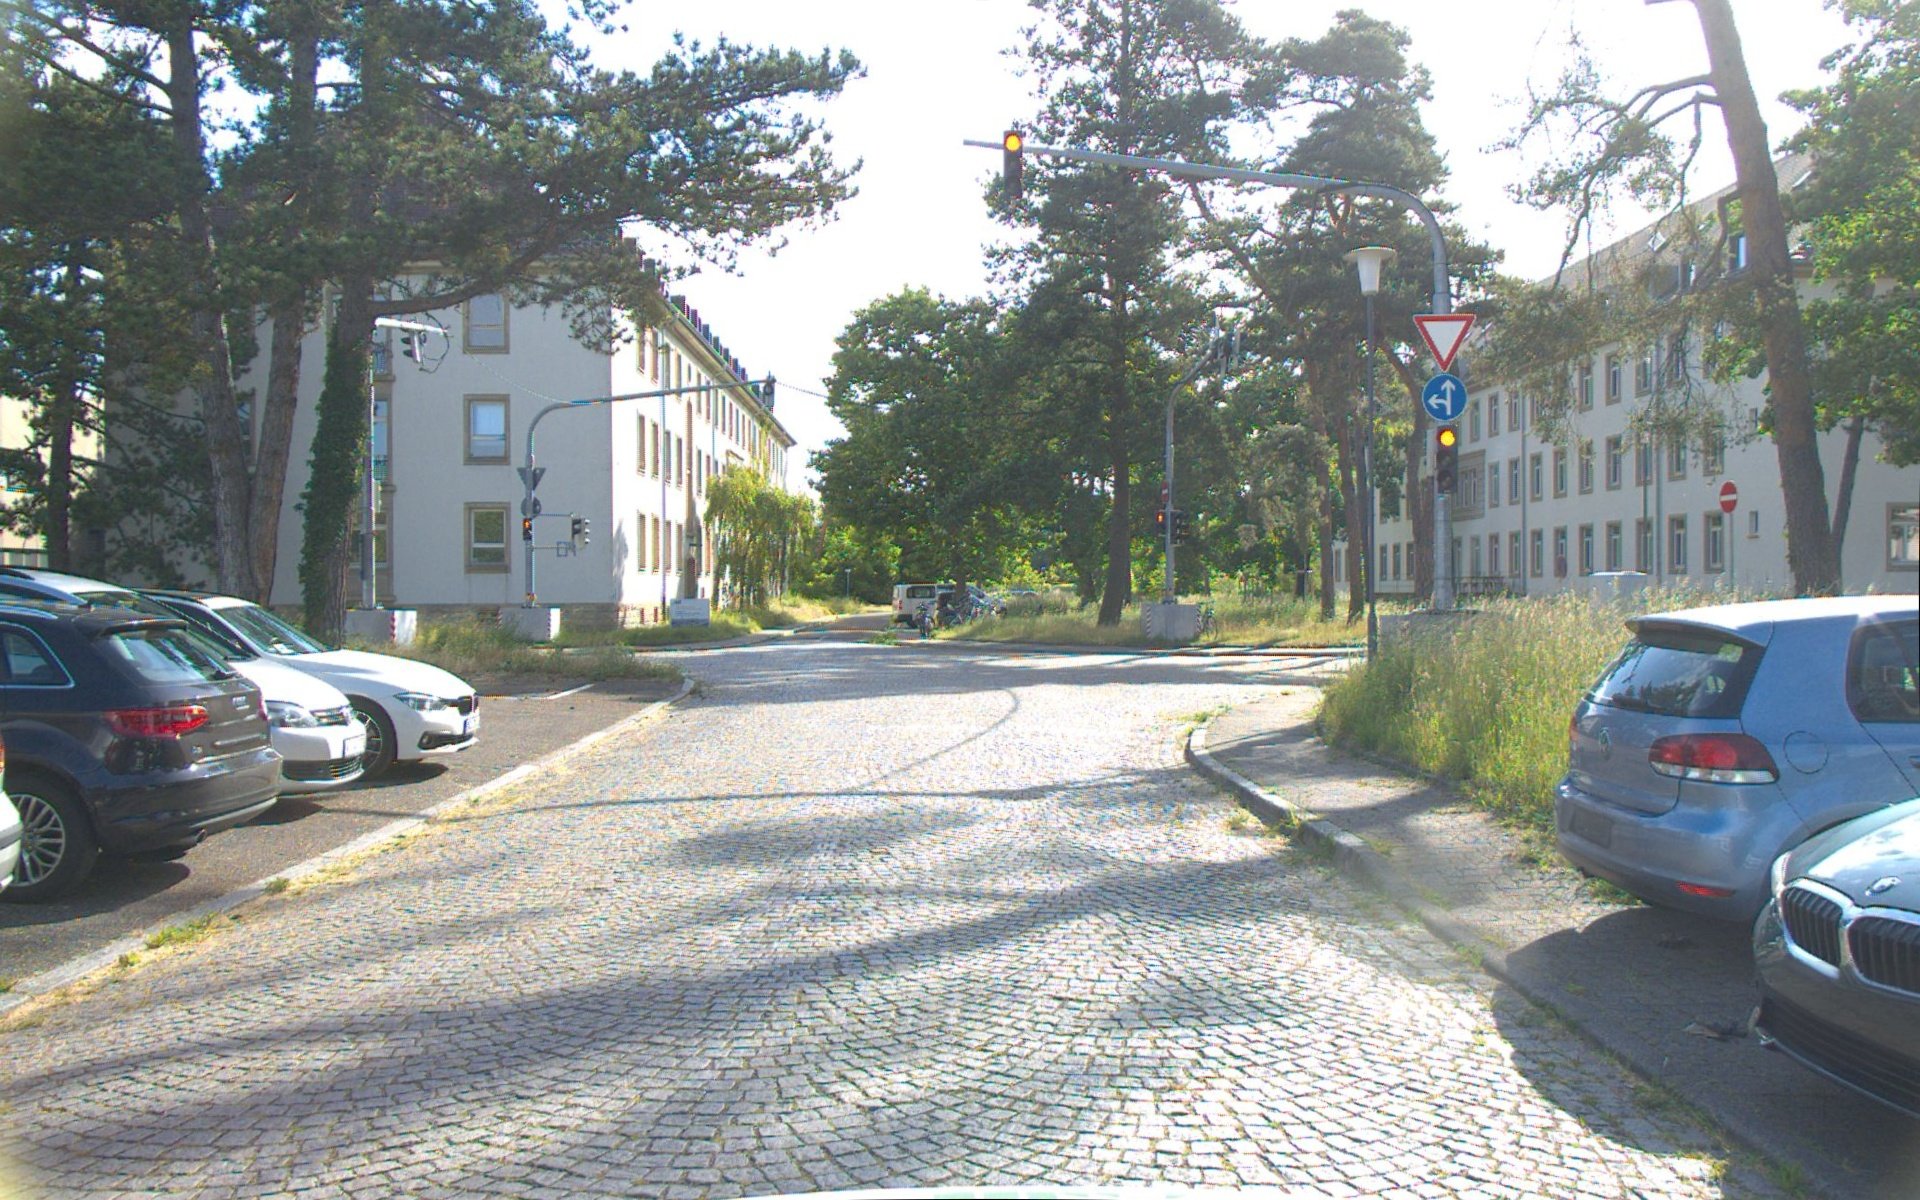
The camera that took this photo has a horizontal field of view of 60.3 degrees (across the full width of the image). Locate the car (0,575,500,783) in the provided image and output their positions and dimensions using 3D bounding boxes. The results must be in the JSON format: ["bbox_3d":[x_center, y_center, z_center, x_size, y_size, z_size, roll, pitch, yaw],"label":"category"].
[{"bbox_3d":[-6.239,0.618,13.885,4.248,1.494,1.829,2,1,-4],"label":"car"}]

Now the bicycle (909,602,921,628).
[{"bbox_3d":[-1.783,0.602,65.675,0.409,1.028,1.483,2,0,0],"label":"bicycle"}]

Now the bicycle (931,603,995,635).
[{"bbox_3d":[0.103,0.648,55.987,2.070,1.028,0.619,2,-1,-9],"label":"bicycle"}]

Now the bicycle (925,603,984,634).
[{"bbox_3d":[-0.188,0.653,58.576,1.990,1.028,0.626,2,-1,-9],"label":"bicycle"}]

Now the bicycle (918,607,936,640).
[{"bbox_3d":[-1.046,0.741,52.271,0.458,1.028,1.584,2,0,-5],"label":"bicycle"}]

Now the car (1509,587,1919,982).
[{"bbox_3d":[4.562,0.673,7.164,3.803,1.440,1.636,-2,1,-1],"label":"car"}]

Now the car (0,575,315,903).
[{"bbox_3d":[-5.702,0.616,8.662,3.908,1.506,1.802,2,1,-4],"label":"car"}]

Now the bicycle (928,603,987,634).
[{"bbox_3d":[-0.096,0.651,57.696,1.967,1.028,0.631,2,-1,-9],"label":"bicycle"}]

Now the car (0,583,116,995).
[{"bbox_3d":[-5.385,0.649,6.060,3.672,1.513,1.644,2,1,-4],"label":"car"}]

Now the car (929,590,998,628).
[{"bbox_3d":[0.129,0.381,70.464,2.728,1.492,1.669,2,-1,-6],"label":"car"}]

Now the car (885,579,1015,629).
[{"bbox_3d":[-0.440,0.176,74.054,5.438,2.049,1.989,2,-1,-20],"label":"car"}]

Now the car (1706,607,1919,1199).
[{"bbox_3d":[4.610,0.705,4.438,4.467,1.440,1.636,-2,1,-1],"label":"car"}]

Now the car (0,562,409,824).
[{"bbox_3d":[-6.186,0.572,11.612,4.000,1.621,1.884,2,1,-4],"label":"car"}]

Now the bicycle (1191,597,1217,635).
[{"bbox_3d":[6.486,0.427,44.037,0.294,0.977,1.584,2,0,-5],"label":"bicycle"}]
